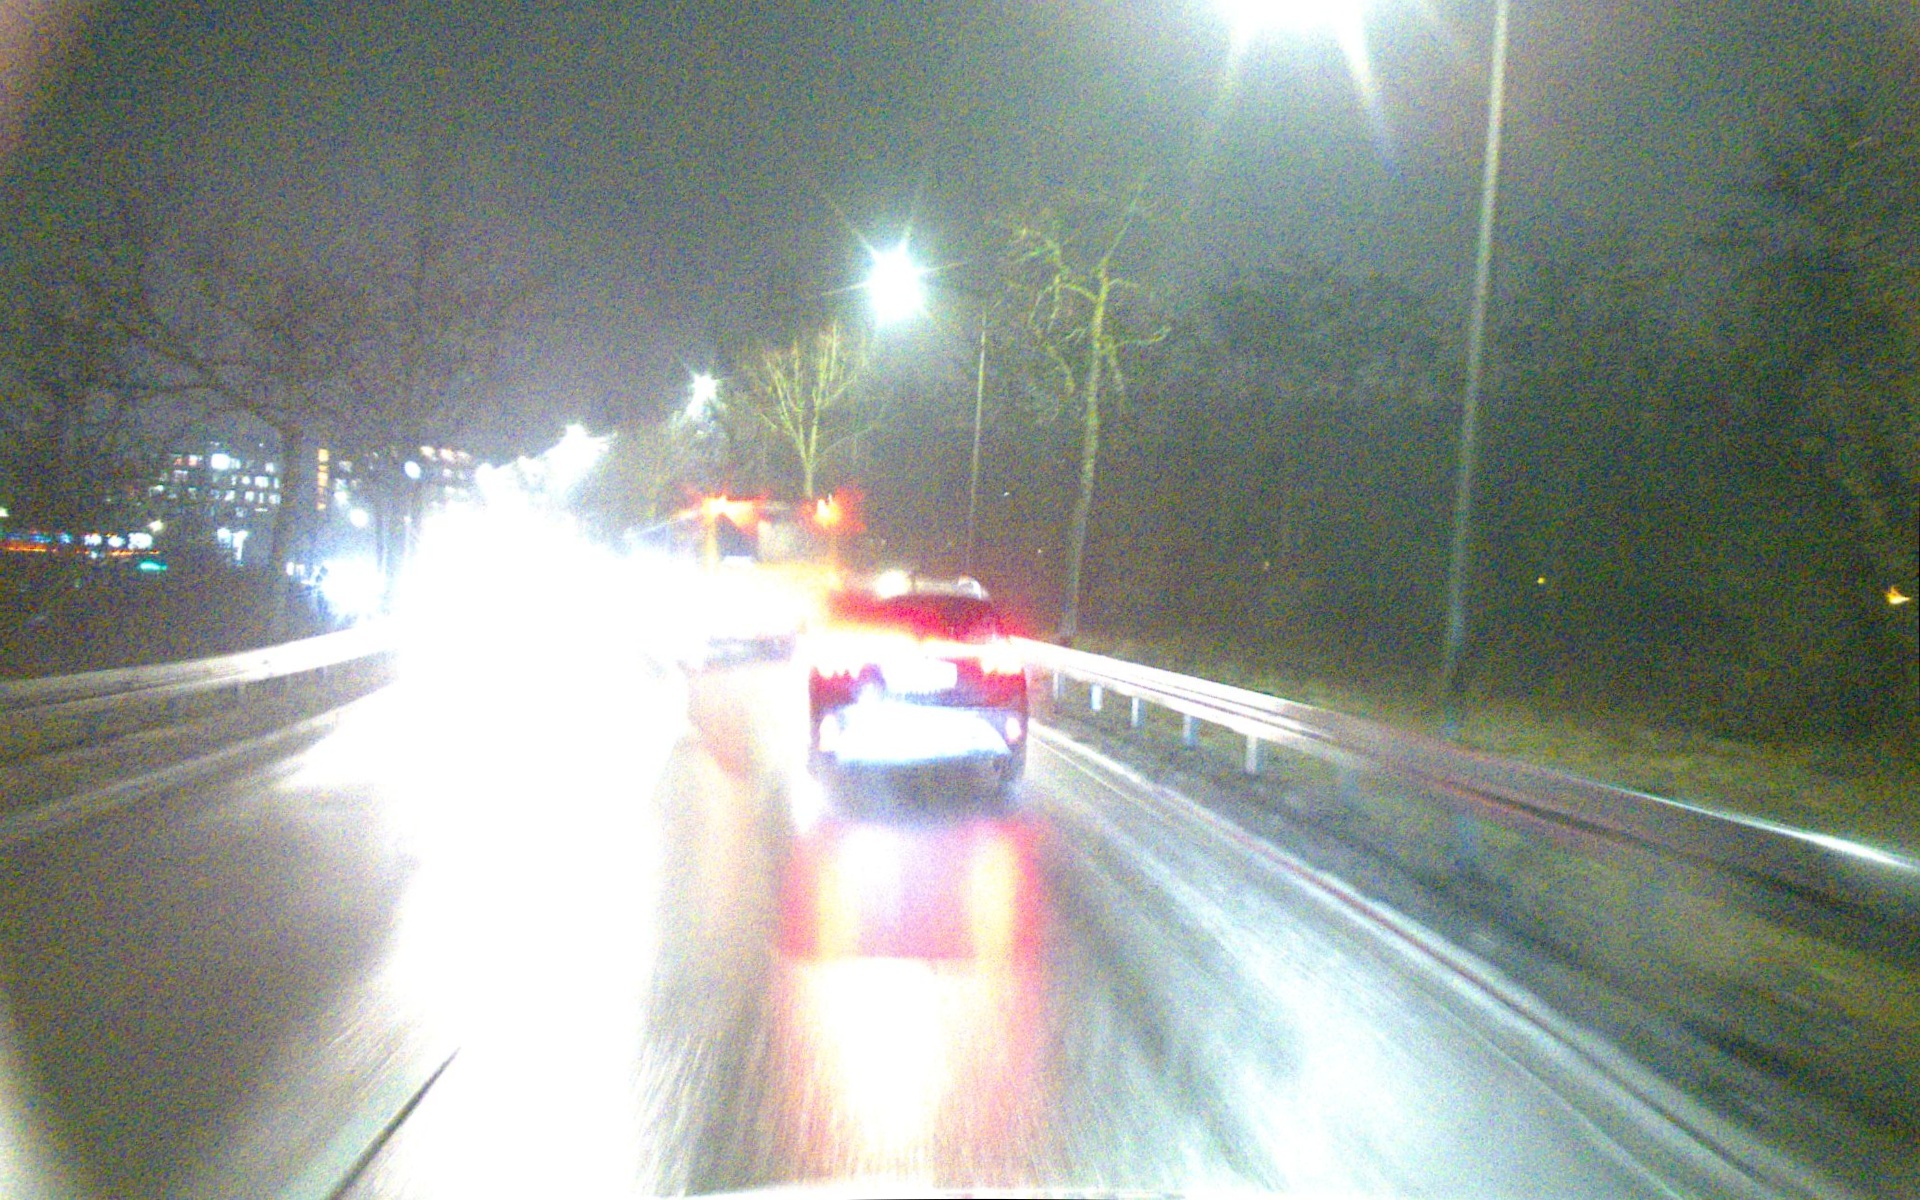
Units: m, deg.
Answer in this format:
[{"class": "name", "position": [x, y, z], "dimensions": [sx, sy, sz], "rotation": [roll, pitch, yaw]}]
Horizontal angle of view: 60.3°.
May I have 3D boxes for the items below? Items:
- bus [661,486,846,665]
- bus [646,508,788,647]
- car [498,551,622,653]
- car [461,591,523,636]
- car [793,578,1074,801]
[{"class": "bus", "position": [-4.596, -0.492, 35.027], "dimensions": [2.991, 3.268, 9.020], "rotation": [0, 1, -13]}, {"class": "bus", "position": [-6.600, -0.579, 43.800], "dimensions": [2.991, 3.268, 9.020], "rotation": [0, 1, -13]}, {"class": "car", "position": [-8.658, 0.012, 35.735], "dimensions": [2.408, 2.022, 5.473], "rotation": [0, 1, -14]}, {"class": "car", "position": [-15.767, 0.435, 55.621], "dimensions": [1.704, 1.429, 3.839], "rotation": [0, 1, -21]}, {"class": "car", "position": [-0.328, 0.611, 13.652], "dimensions": [1.954, 1.551, 3.997], "rotation": [1, 1, -4]}]
